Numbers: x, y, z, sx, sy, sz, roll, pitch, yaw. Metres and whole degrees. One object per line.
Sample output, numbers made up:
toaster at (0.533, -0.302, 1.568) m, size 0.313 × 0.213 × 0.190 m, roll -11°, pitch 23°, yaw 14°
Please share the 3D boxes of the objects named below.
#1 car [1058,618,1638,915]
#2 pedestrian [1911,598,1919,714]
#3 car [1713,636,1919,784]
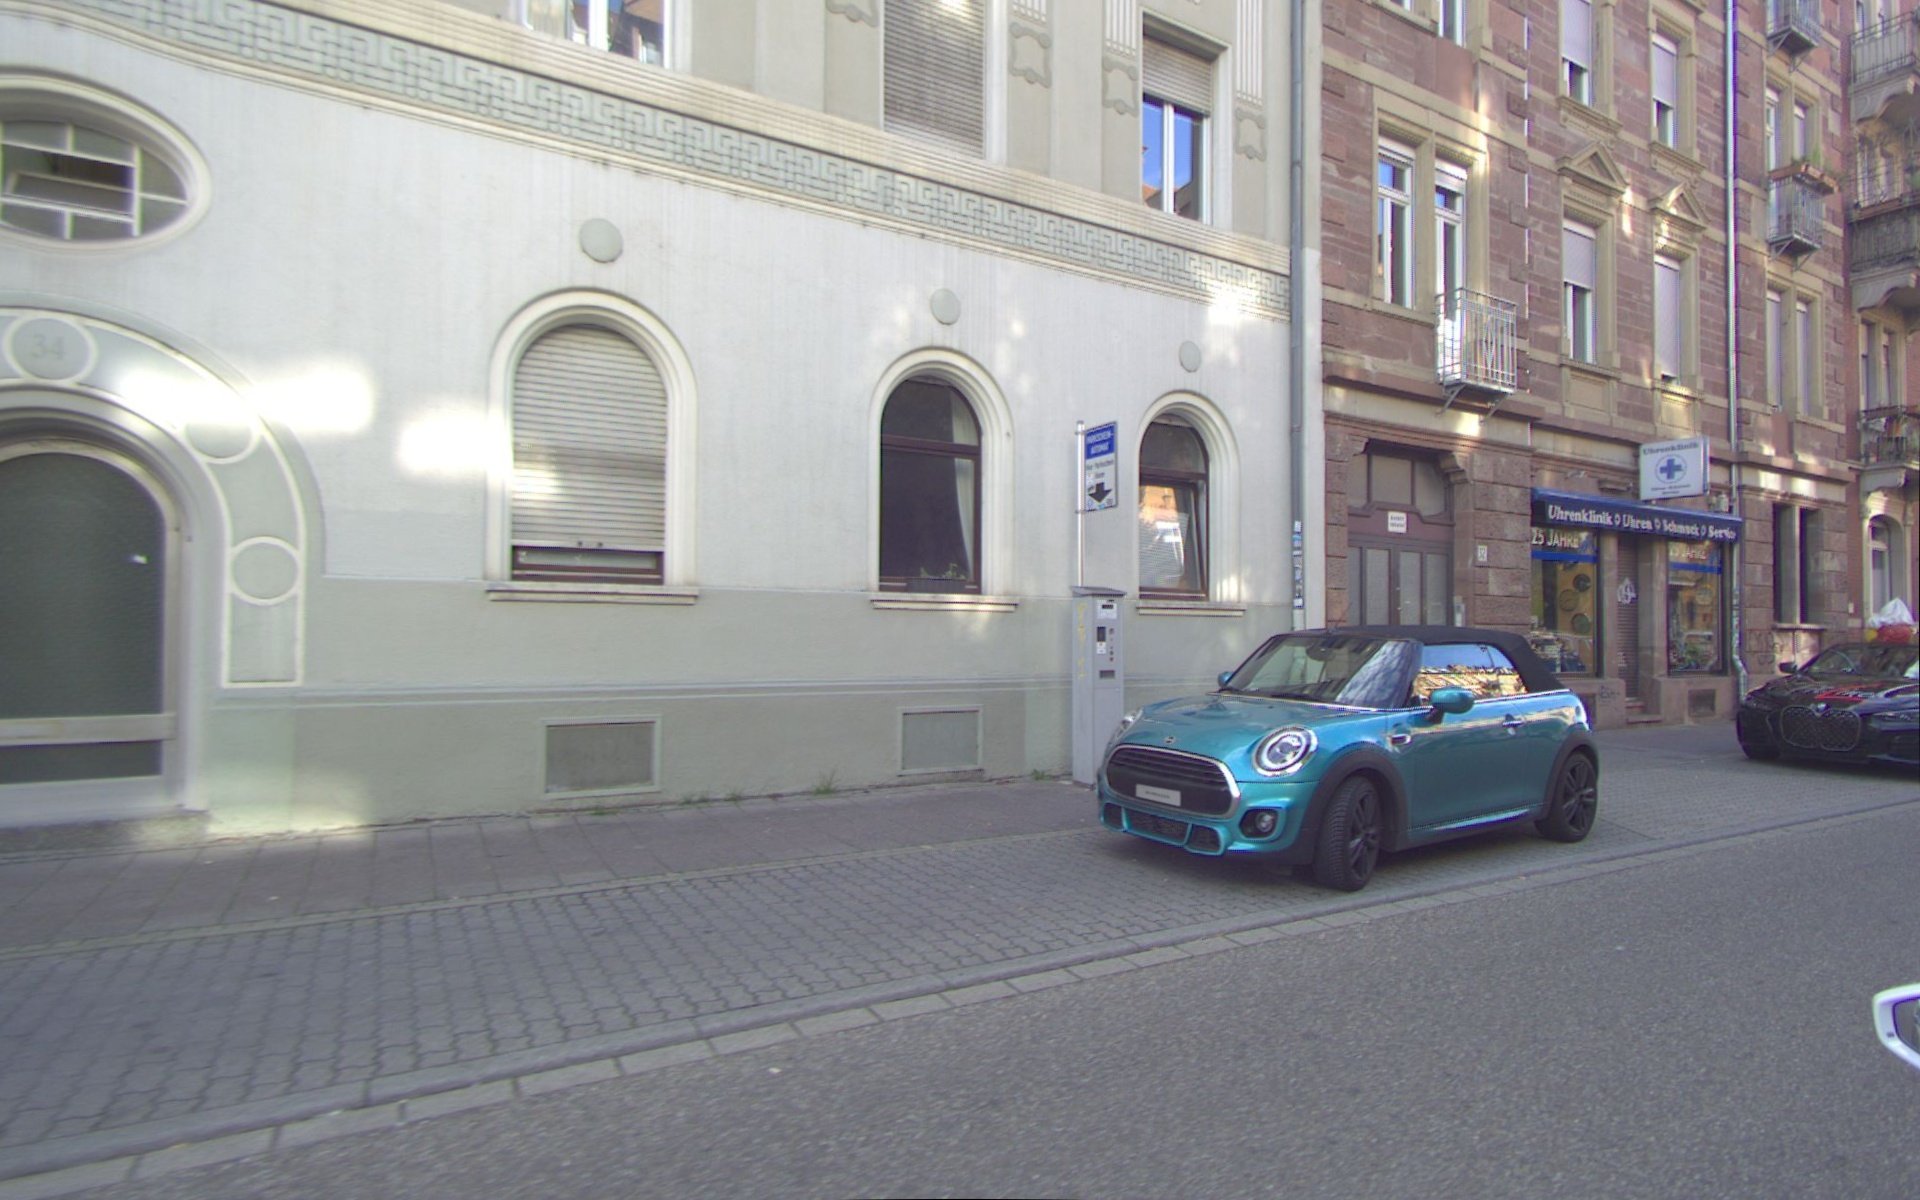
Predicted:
car at (2.726, 0.881, 6.741) m, size 3.970 × 1.434 × 1.659 m, roll 2°, pitch -1°, yaw -34°
pedestrian at (17.265, 0.991, 17.583) m, size 0.617 × 2.040 × 0.645 m, roll 1°, pitch -1°, yaw -2°
car at (10.889, 1.140, 11.575) m, size 5.057 × 1.369 × 1.803 m, roll 2°, pitch -1°, yaw -31°
